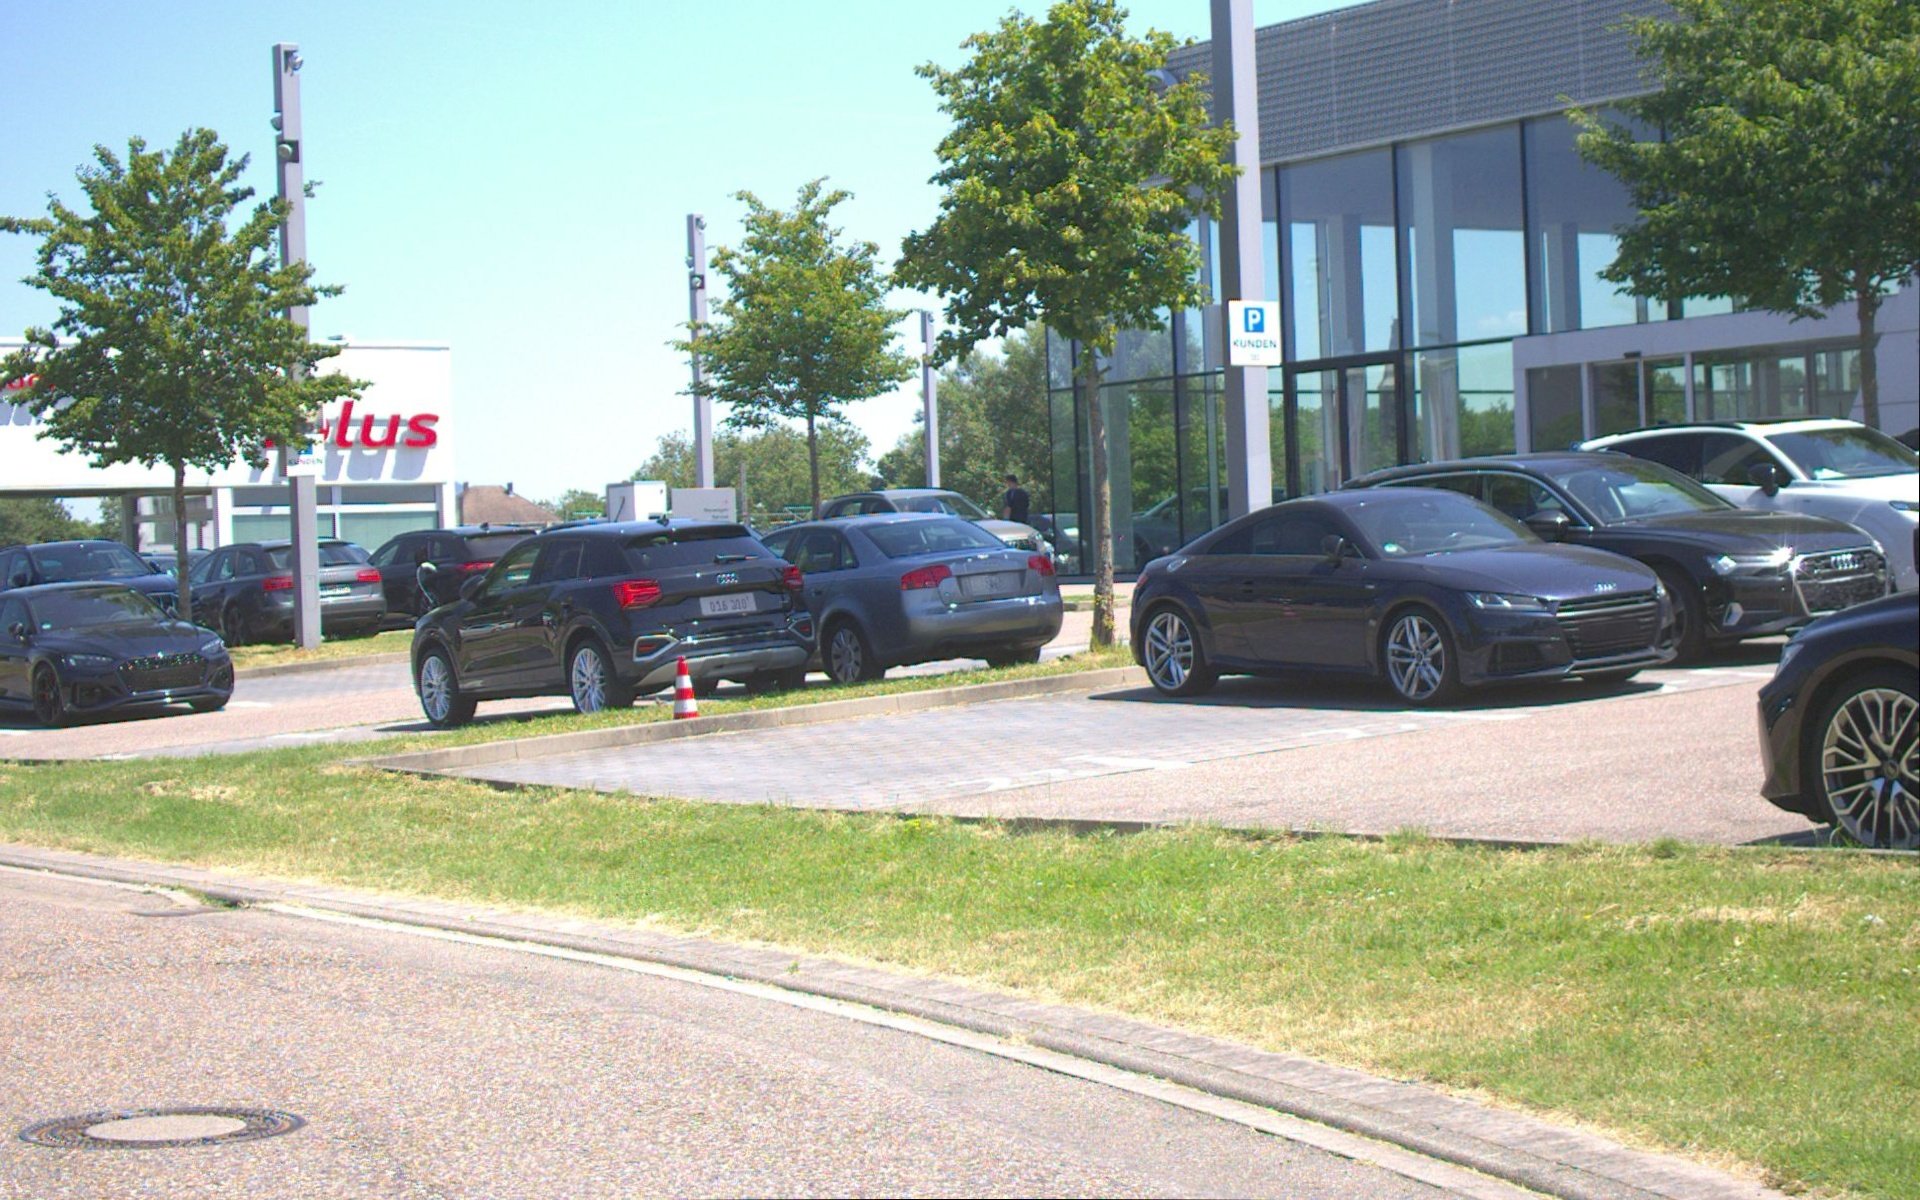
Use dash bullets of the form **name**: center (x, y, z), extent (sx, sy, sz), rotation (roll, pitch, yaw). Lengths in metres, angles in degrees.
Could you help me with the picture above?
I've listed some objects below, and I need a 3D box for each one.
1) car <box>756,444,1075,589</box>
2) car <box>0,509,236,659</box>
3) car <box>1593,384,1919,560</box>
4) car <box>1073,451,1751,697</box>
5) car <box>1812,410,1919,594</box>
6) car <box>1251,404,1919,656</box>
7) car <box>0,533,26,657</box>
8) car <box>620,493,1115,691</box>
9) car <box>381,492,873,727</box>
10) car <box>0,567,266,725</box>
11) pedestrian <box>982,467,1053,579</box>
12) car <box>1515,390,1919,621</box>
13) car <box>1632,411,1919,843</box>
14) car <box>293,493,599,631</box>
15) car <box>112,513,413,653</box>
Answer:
- **car**: center (-0.701, -1.160, 48.960), extent (1.962, 1.615, 4.984), rotation (-5, 0, -35)
- **car**: center (-11.258, -0.147, 44.073), extent (1.962, 1.592, 4.984), rotation (-5, 0, -35)
- **car**: center (8.848, -1.338, 35.413), extent (1.962, 1.586, 4.426), rotation (-7, 3, -33)
- **car**: center (2.895, -0.142, 22.867), extent (1.962, 1.370, 4.310), rotation (-5, 2, -36)
- **car**: center (9.213, -0.896, 27.418), extent (1.962, 1.471, 4.371), rotation (-5, 2, -36)
- **car**: center (4.546, -0.461, 24.968), extent (1.962, 1.547, 5.004), rotation (-5, 2, -36)
- **car**: center (-13.381, 0.115, 42.353), extent (1.962, 1.451, 4.984), rotation (-5, 0, -35)
- **car**: center (-0.847, -0.042, 28.570), extent (1.962, 1.361, 4.226), rotation (-7, 3, -36)
- **car**: center (-2.729, 0.090, 27.328), extent (1.888, 1.566, 4.226), rotation (-7, 3, -36)
- **car**: center (-9.218, 0.434, 36.052), extent (1.962, 1.361, 4.720), rotation (-7, 4, -35)
- **pedestrian**: center (0.942, -1.261, 56.223), extent (0.770, 1.770, 0.745), rotation (-4, 1, -30)
- **car**: center (6.597, -0.742, 26.685), extent (1.962, 1.607, 4.287), rotation (-5, 2, -36)
- **car**: center (4.748, 0.004, 11.143), extent (1.880, 1.449, 5.022), rotation (-6, 3, -36)
- **car**: center (-6.983, -0.480, 46.264), extent (1.962, 1.451, 4.984), rotation (-5, 0, -35)
- **car**: center (-9.225, -0.194, 45.156), extent (1.962, 1.451, 4.984), rotation (-5, 0, -35)
